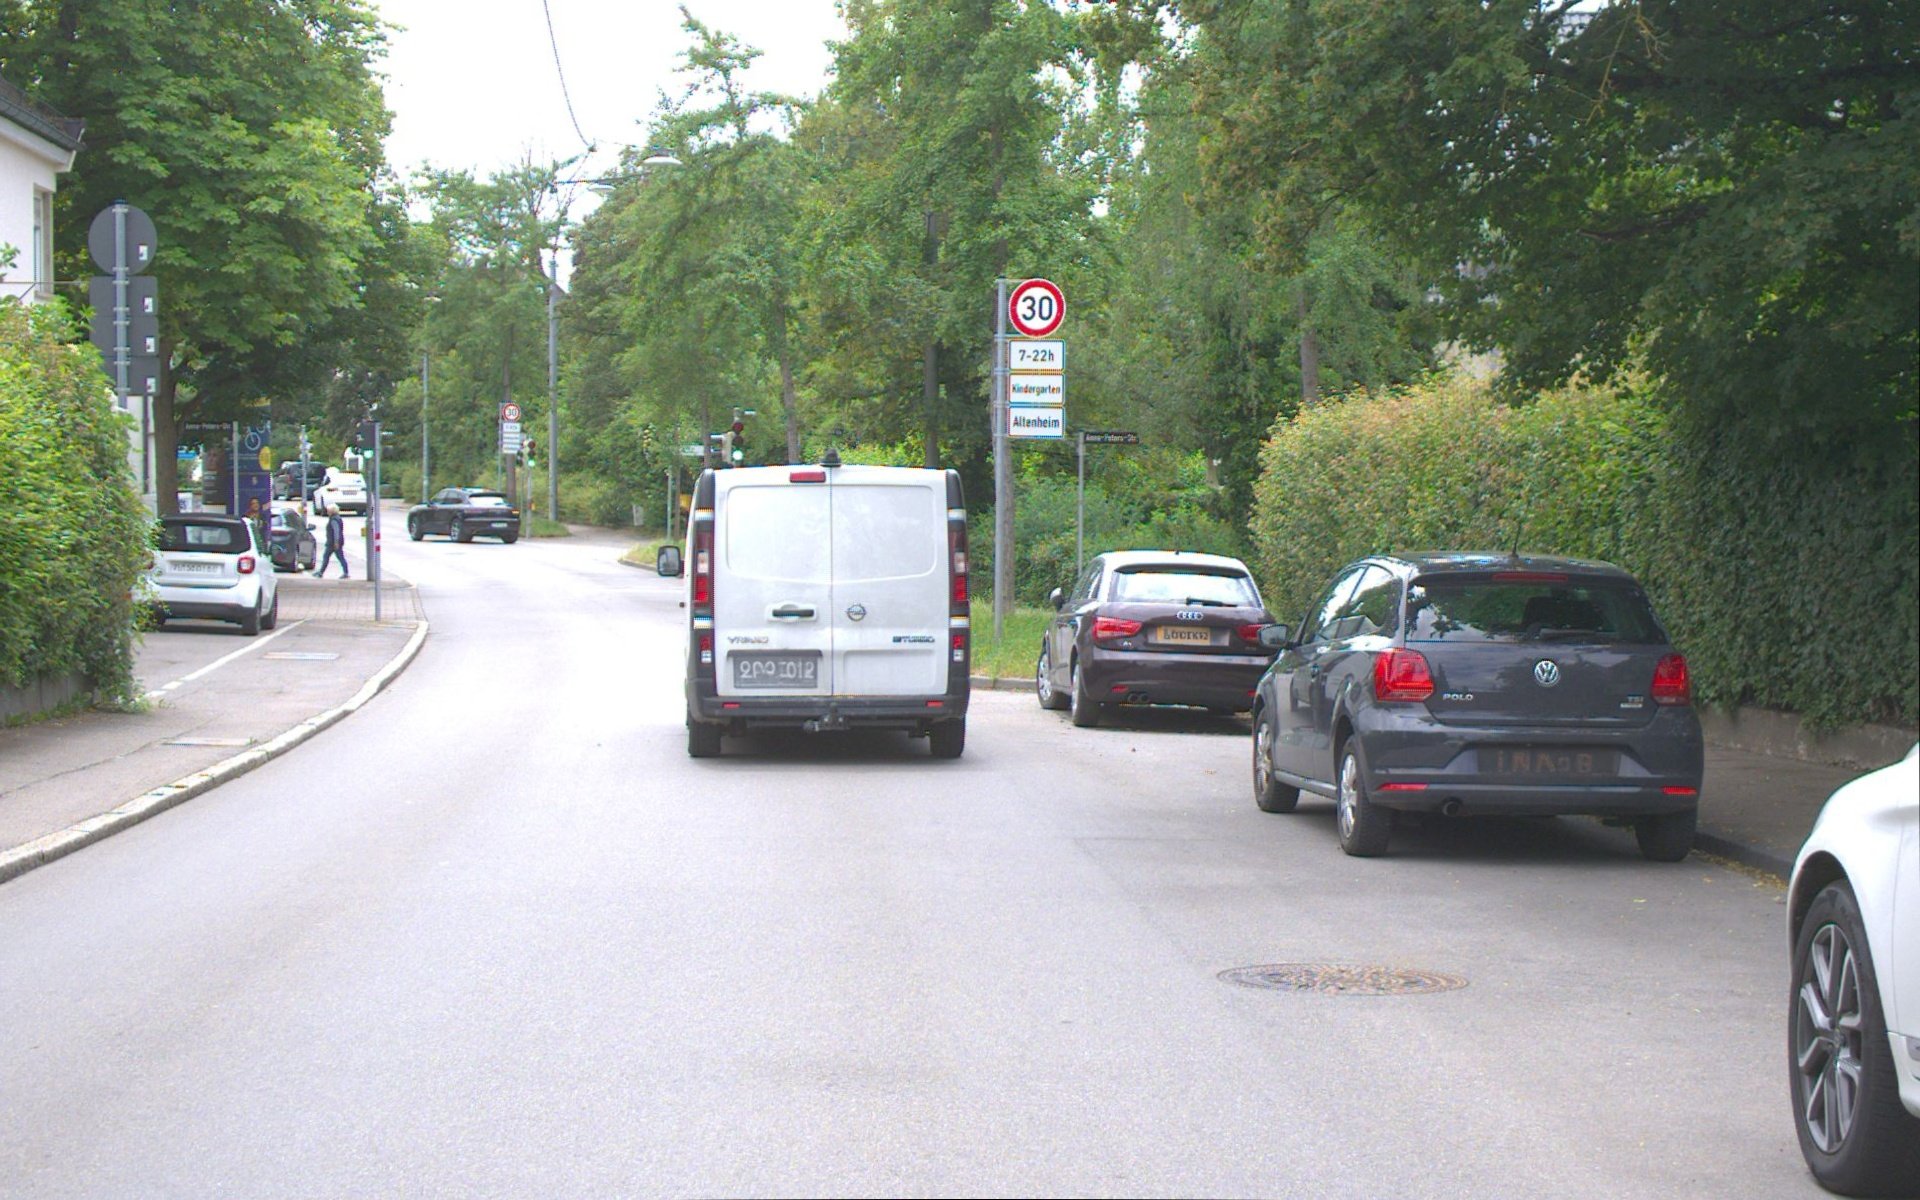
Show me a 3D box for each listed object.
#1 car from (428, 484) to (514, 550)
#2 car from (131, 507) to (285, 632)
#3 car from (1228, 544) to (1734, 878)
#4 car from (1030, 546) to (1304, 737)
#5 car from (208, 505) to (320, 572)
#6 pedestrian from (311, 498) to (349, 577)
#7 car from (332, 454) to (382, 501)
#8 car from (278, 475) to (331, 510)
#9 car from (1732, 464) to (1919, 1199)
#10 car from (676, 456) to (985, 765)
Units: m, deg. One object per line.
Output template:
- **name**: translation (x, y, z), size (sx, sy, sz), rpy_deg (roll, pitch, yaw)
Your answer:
- **car**: translation (-14.510, -2.479, 101.855), size (1.896, 1.853, 4.406), rpy_deg (0, 2, -16)
- **car**: translation (-9.949, -0.432, 45.627), size (1.588, 1.533, 2.924), rpy_deg (2, 2, -5)
- **car**: translation (2.520, 0.478, 17.514), size (1.709, 1.482, 3.791), rpy_deg (1, 1, -4)
- **car**: translation (1.653, 0.295, 28.664), size (1.709, 1.408, 3.791), rpy_deg (2, 1, -5)
- **car**: translation (-15.794, -1.405, 78.194), size (1.779, 1.436, 4.526), rpy_deg (2, 1, -2)
- **pedestrian**: translation (-13.069, -1.292, 71.302), size (0.697, 1.610, 0.715), rpy_deg (1, 3, -6)
- **car**: translation (-23.114, -4.694, 131.724), size (1.824, 1.722, 4.001), rpy_deg (1, 2, -10)
- **car**: translation (-31.357, -5.143, 164.434), size (1.893, 1.605, 4.502), rpy_deg (0, 2, -18)
- **car**: translation (2.909, 0.588, 6.353), size (1.865, 1.679, 4.351), rpy_deg (1, 1, -1)
- **car**: translation (-1.008, -0.004, 24.205), size (1.929, 1.957, 4.403), rpy_deg (1, 2, -5)
